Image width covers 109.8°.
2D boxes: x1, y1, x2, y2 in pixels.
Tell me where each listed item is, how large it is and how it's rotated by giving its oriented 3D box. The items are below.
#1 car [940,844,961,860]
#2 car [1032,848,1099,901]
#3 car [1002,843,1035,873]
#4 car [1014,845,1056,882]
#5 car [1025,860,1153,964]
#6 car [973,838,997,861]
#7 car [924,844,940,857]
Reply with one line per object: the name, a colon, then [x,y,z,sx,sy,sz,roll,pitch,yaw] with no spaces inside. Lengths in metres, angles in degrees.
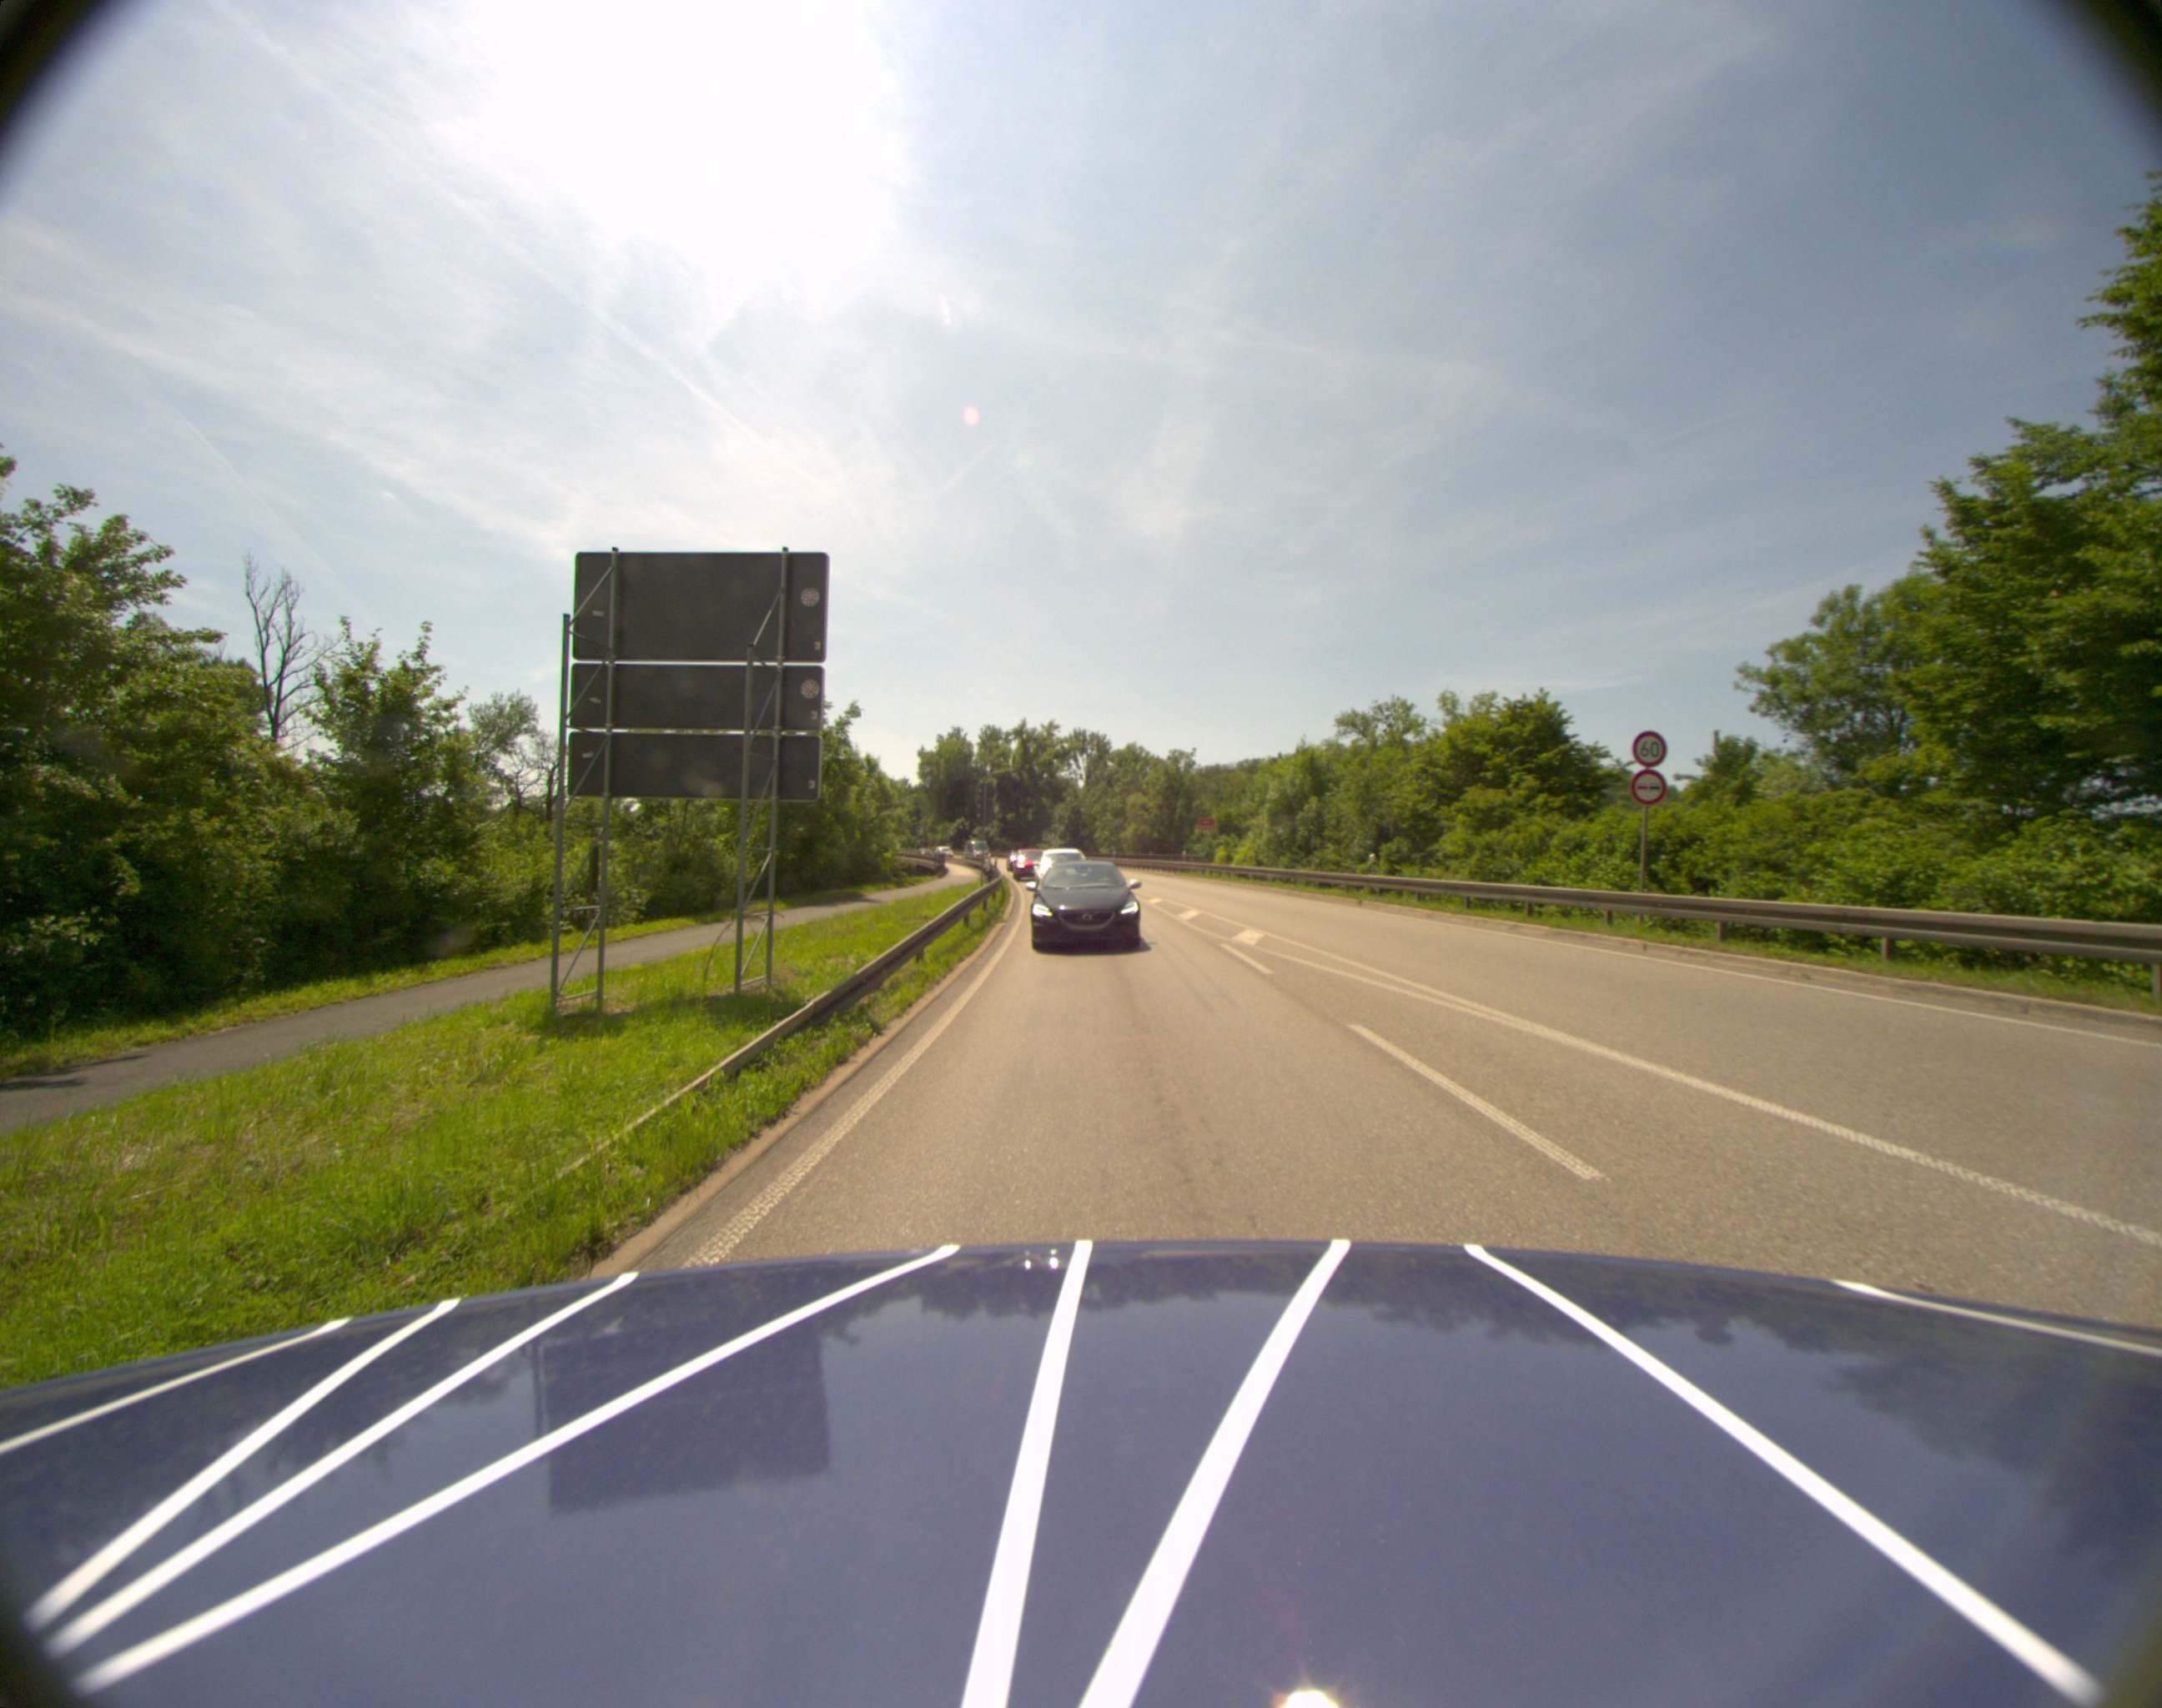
car: [-18.294,-0.322,106.251,2.002,2.002,4.703,-3,2,-20]
car: [-0.626,0.635,26.409,1.910,1.638,3.948,-2,1,-6]
car: [-4.667,0.268,56.135,2.000,2.002,3.995,-2,2,-11]
car: [-2.527,0.469,40.814,1.999,1.766,3.996,-2,2,-6]
car: [0.042,0.896,13.535,1.909,1.413,3.949,-2,1,-3]
car: [-11.020,-0.555,86.893,2.001,2.471,4.851,-2,2,-14]
car: [-23.841,-0.545,121.610,2.001,2.002,3.992,-3,2,-19]
